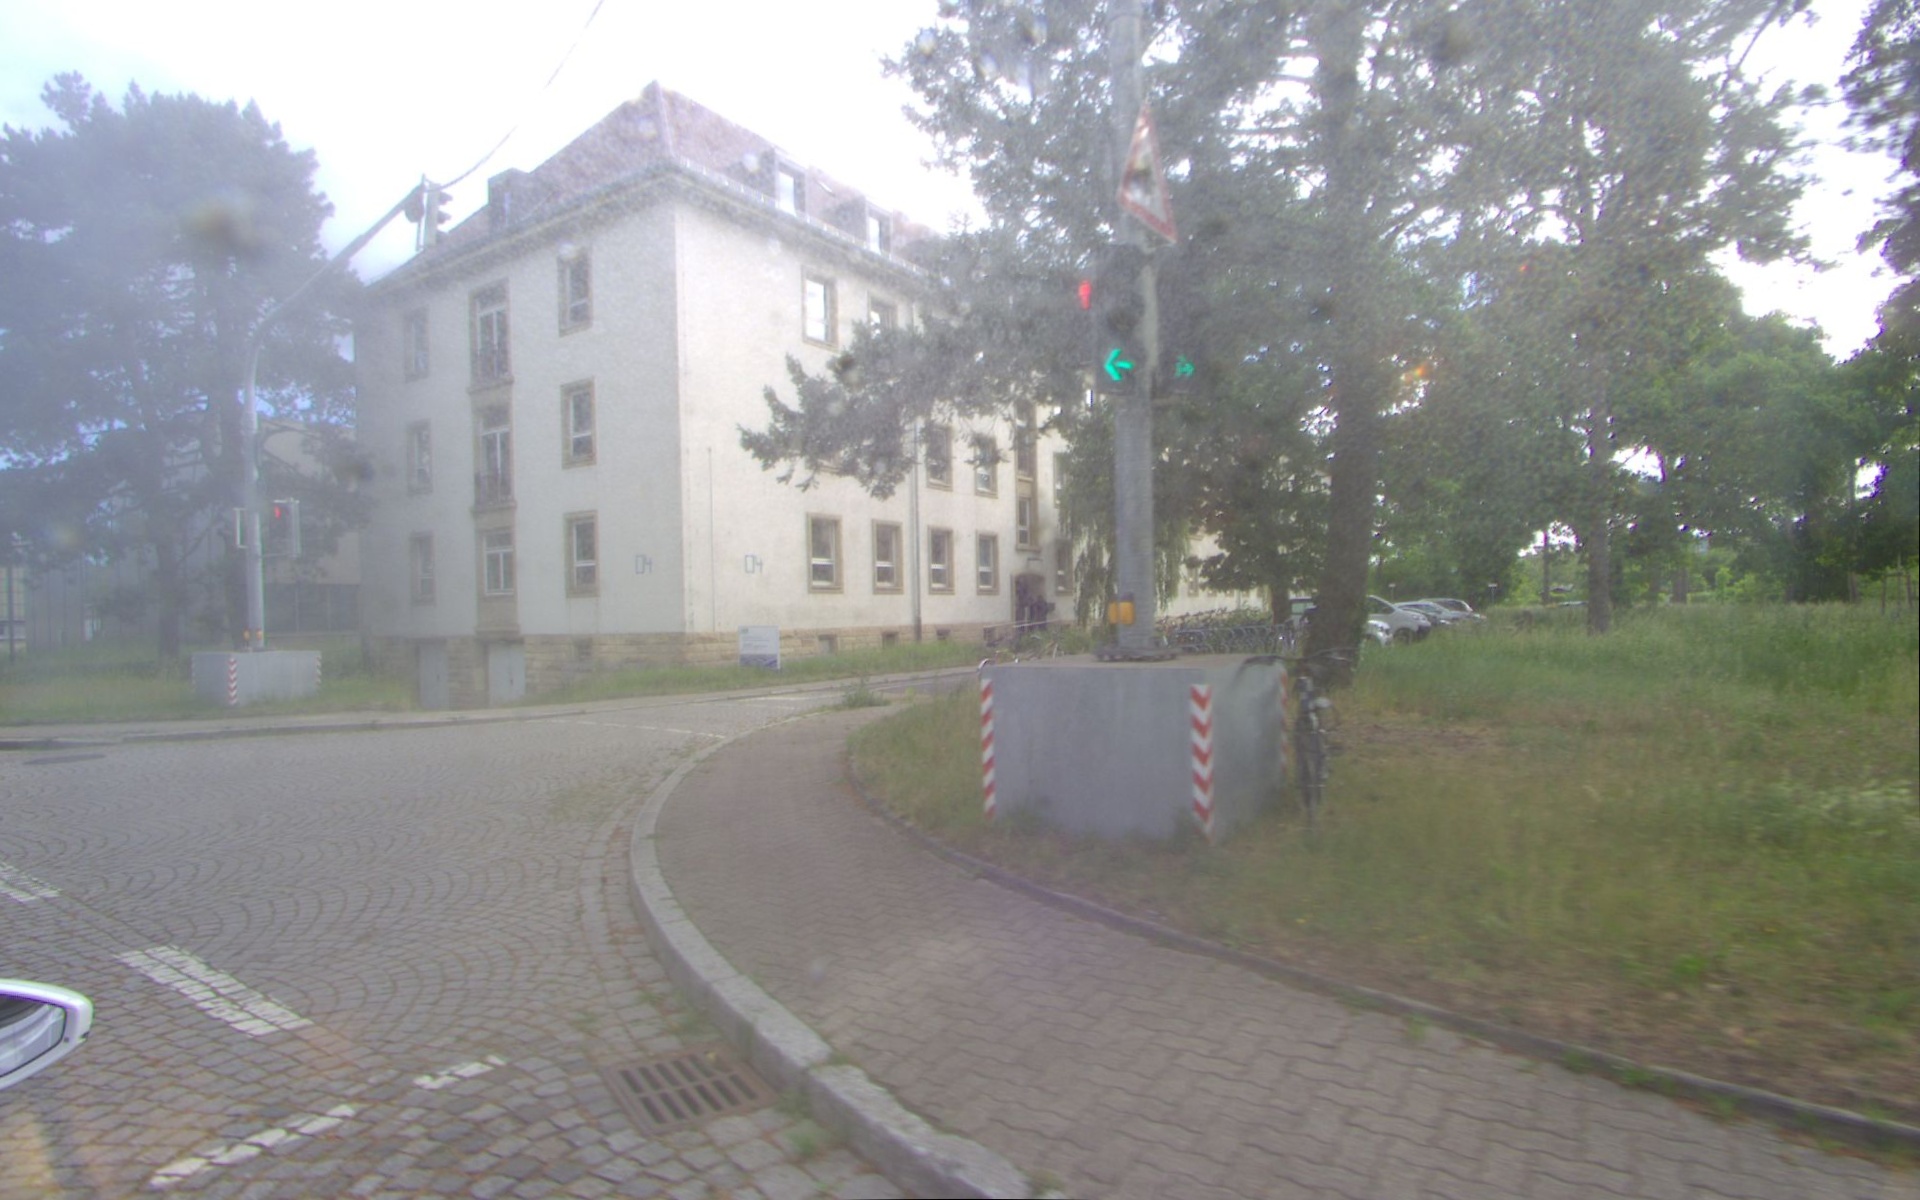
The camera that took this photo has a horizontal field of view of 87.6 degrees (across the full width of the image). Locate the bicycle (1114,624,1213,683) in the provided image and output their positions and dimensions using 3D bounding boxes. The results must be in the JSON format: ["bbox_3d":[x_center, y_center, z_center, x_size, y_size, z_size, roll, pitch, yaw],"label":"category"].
[{"bbox_3d":[4.004,1.041,19.814,1.879,1.116,0.539,-1,-1,40],"label":"bicycle"}]

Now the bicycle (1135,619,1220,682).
[{"bbox_3d":[4.384,1.008,20.253,1.619,1.231,0.539,-1,0,40],"label":"bicycle"}]

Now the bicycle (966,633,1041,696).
[{"bbox_3d":[0.769,1.088,17.256,0.523,0.993,1.617,-1,-1,33],"label":"bicycle"}]

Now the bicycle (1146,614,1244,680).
[{"bbox_3d":[4.954,0.971,21.162,1.952,1.337,0.574,-1,0,40],"label":"bicycle"}]

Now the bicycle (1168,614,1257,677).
[{"bbox_3d":[5.538,0.993,22.019,1.895,1.337,0.390,-1,0,40],"label":"bicycle"}]

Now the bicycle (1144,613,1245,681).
[{"bbox_3d":[4.795,0.953,20.582,2.023,1.337,0.435,-1,0,40],"label":"bicycle"}]

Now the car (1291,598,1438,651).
[{"bbox_3d":[12.473,0.753,30.951,3.880,1.550,1.850,-1,-1,36],"label":"car"}]

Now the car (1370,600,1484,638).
[{"bbox_3d":[21.315,0.864,45.745,4.457,1.639,1.988,-2,-1,35],"label":"car"}]

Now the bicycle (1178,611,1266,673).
[{"bbox_3d":[5.856,0.925,22.442,1.831,1.337,0.553,-1,0,40],"label":"bicycle"}]

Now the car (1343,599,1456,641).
[{"bbox_3d":[18.065,0.840,41.160,3.947,1.639,1.988,-2,-1,35],"label":"car"}]

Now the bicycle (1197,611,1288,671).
[{"bbox_3d":[6.573,0.949,23.370,1.991,1.337,0.538,-1,0,40],"label":"bicycle"}]

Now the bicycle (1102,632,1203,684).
[{"bbox_3d":[3.684,1.097,19.244,1.879,0.961,0.539,-2,-1,40],"label":"bicycle"}]

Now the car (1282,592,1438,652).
[{"bbox_3d":[13.597,0.757,34.356,4.777,1.935,2.236,-1,0,19],"label":"car"}]

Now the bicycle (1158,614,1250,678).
[{"bbox_3d":[5.264,0.985,21.662,1.897,1.337,0.503,-1,0,40],"label":"bicycle"}]

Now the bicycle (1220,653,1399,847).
[{"bbox_3d":[2.088,0.792,5.840,0.565,0.885,1.695,-1,0,34],"label":"bicycle"}]

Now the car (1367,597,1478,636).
[{"bbox_3d":[22.502,0.827,48.798,4.633,1.796,1.988,-2,-1,35],"label":"car"}]

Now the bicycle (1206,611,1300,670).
[{"bbox_3d":[6.944,0.959,23.803,2.107,1.337,0.552,-1,0,40],"label":"bicycle"}]

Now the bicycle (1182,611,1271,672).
[{"bbox_3d":[6.112,0.938,23.004,1.915,1.337,0.551,-1,0,40],"label":"bicycle"}]

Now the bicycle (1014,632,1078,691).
[{"bbox_3d":[1.628,1.132,18.789,0.535,1.027,1.533,-1,-1,33],"label":"bicycle"}]

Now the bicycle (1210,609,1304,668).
[{"bbox_3d":[7.241,0.932,24.459,2.077,1.385,0.754,-1,0,40],"label":"bicycle"}]
